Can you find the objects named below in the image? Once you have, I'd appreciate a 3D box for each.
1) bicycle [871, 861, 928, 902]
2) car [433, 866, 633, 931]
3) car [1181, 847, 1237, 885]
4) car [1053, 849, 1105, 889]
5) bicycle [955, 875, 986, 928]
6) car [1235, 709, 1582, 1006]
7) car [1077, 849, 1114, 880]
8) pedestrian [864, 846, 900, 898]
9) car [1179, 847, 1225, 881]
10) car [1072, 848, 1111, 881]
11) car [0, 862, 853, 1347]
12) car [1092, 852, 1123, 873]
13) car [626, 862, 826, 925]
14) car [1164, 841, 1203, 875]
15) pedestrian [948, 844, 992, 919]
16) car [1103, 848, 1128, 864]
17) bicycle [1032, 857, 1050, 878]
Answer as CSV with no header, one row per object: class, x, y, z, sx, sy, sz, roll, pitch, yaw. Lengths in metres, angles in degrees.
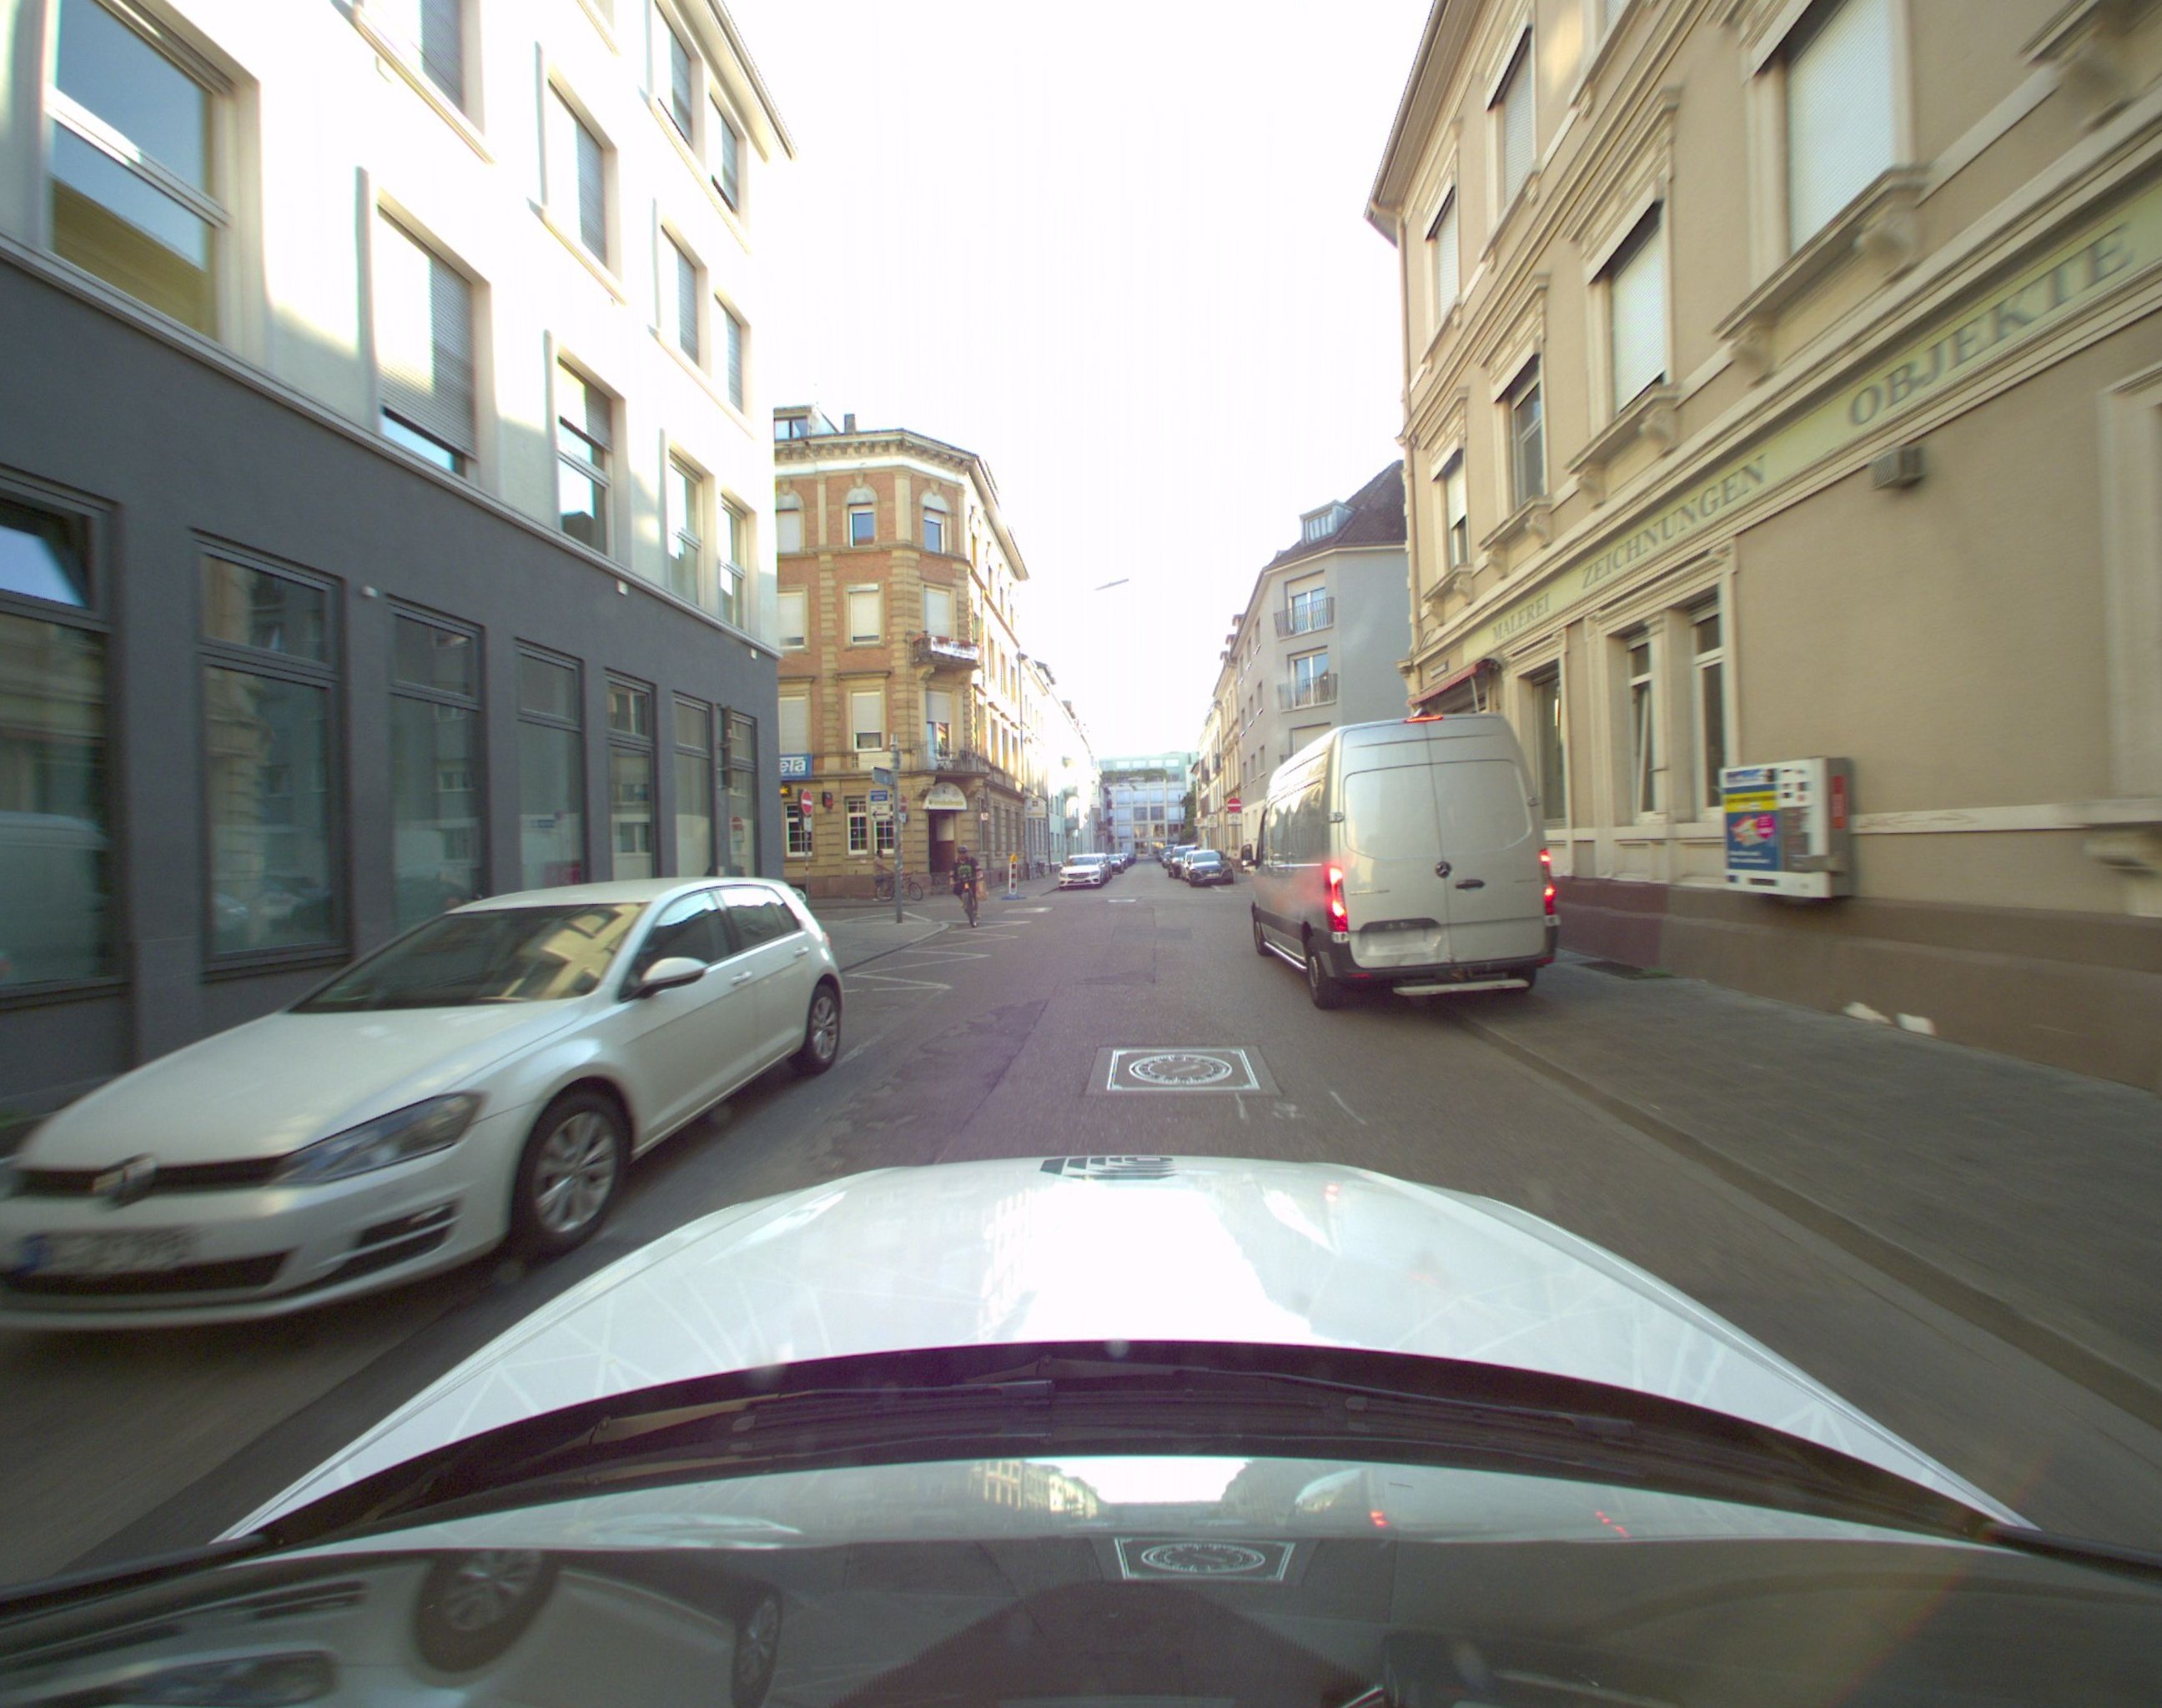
bicycle,-6.179,0.932,27.794,1.751,1.275,0.661,-2,3,1
car,-14.774,1.170,22.103,4.084,1.524,2.017,-2,0,5
car,5.332,0.466,34.438,1.930,1.372,3.792,-3,0,4
car,-0.005,0.616,35.833,1.985,1.564,4.510,-2,0,3
bicycle,-2.399,0.987,17.577,0.538,1.007,1.974,-2,0,-11
car,3.316,0.021,9.940,2.265,2.439,6.214,-2,0,6
car,0.898,0.593,47.291,1.776,1.658,3.823,-2,0,6
pedestrian,-6.942,0.620,28.407,1.011,1.742,0.983,-1,0,-4
car,5.977,0.448,40.488,1.955,1.557,3.893,-2,0,4
car,0.589,0.496,41.550,1.616,1.576,3.761,-2,0,6
car,-2.751,0.797,4.429,1.650,1.414,3.886,-2,0,4
car,1.957,0.584,58.487,1.984,1.355,4.434,-2,0,4
car,-9.277,1.015,21.509,4.455,1.401,1.758,-2,1,2
car,5.746,0.189,45.943,1.885,1.784,4.004,-2,0,4
pedestrian,-2.411,0.569,17.594,0.829,1.545,1.078,-2,0,-11
car,3.249,0.191,76.525,2.164,1.418,4.003,-2,0,2
bicycle,-2.323,0.776,47.522,0.734,1.160,2.464,-1,0,5
